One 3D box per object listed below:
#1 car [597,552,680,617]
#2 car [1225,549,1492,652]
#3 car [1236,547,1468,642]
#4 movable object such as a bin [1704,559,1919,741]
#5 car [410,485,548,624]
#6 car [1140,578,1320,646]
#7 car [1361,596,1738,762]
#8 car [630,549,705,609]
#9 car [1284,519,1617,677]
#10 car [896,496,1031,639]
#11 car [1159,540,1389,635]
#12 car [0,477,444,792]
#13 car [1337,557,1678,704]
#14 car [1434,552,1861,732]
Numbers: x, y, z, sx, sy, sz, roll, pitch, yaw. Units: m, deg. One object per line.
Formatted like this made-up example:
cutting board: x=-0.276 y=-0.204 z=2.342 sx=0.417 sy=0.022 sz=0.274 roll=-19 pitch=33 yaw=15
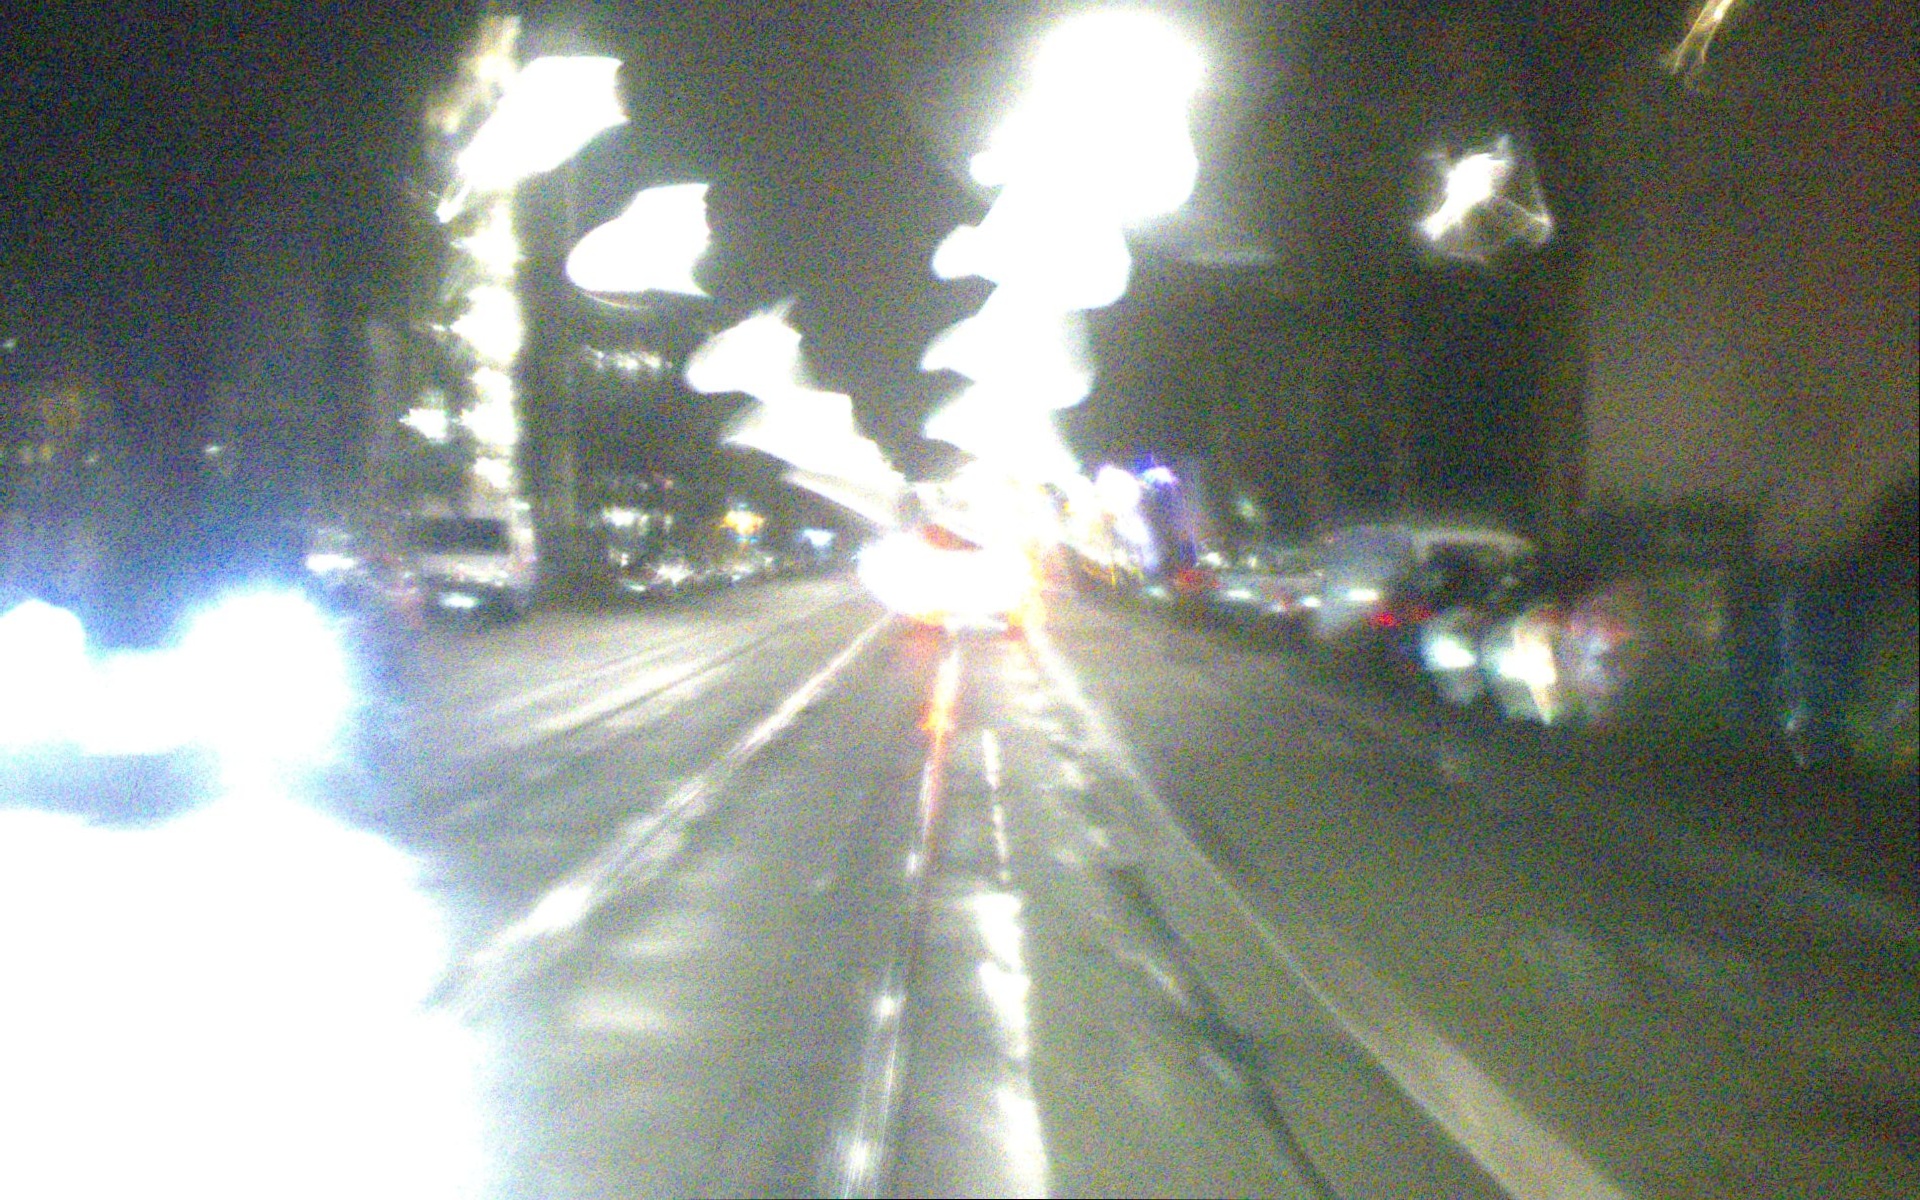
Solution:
car: x=-9.467 y=-0.463 z=101.593 sx=2.108 sy=1.758 sz=4.966 roll=3 pitch=0 yaw=-3
car: x=6.004 y=-0.030 z=51.375 sx=1.691 sy=1.399 sz=4.447 roll=3 pitch=3 yaw=42
car: x=6.619 y=-0.084 z=57.796 sx=1.820 sy=1.428 sz=3.845 roll=3 pitch=1 yaw=45
movable object such as a bin: x=6.805 y=0.389 z=27.408 sx=1.347 sy=1.402 sz=1.027 roll=1 pitch=1 yaw=-20
car: x=-9.370 y=-0.910 z=67.343 sx=2.024 sy=2.490 sz=5.608 roll=3 pitch=1 yaw=-3
car: x=6.534 y=0.301 z=82.912 sx=4.236 sy=1.449 sz=1.950 roll=2 pitch=1 yaw=-44
car: x=5.804 y=0.731 z=33.595 sx=1.806 sy=1.483 sz=3.846 roll=2 pitch=1 yaw=42
car: x=-9.330 y=-0.649 z=109.946 sx=1.999 sy=1.779 sz=4.000 roll=3 pitch=0 yaw=0
car: x=6.417 y=-0.011 z=44.734 sx=4.162 sy=1.833 sz=1.962 roll=2 pitch=1 yaw=-41
car: x=0.015 y=-0.604 z=62.598 sx=2.216 sy=2.433 sz=5.385 roll=2 pitch=1 yaw=-2
car: x=5.566 y=-0.219 z=60.671 sx=3.877 sy=1.528 sz=1.821 roll=1 pitch=1 yaw=-41
car: x=-4.660 y=0.154 z=22.126 sx=1.938 sy=1.809 sz=4.385 roll=-1 pitch=1 yaw=1
car: x=5.922 y=0.342 z=36.934 sx=3.825 sy=1.433 sz=1.599 roll=2 pitch=1 yaw=-44
car: x=6.165 y=0.391 z=30.657 sx=3.779 sy=1.453 sz=1.769 roll=2 pitch=1 yaw=-42
